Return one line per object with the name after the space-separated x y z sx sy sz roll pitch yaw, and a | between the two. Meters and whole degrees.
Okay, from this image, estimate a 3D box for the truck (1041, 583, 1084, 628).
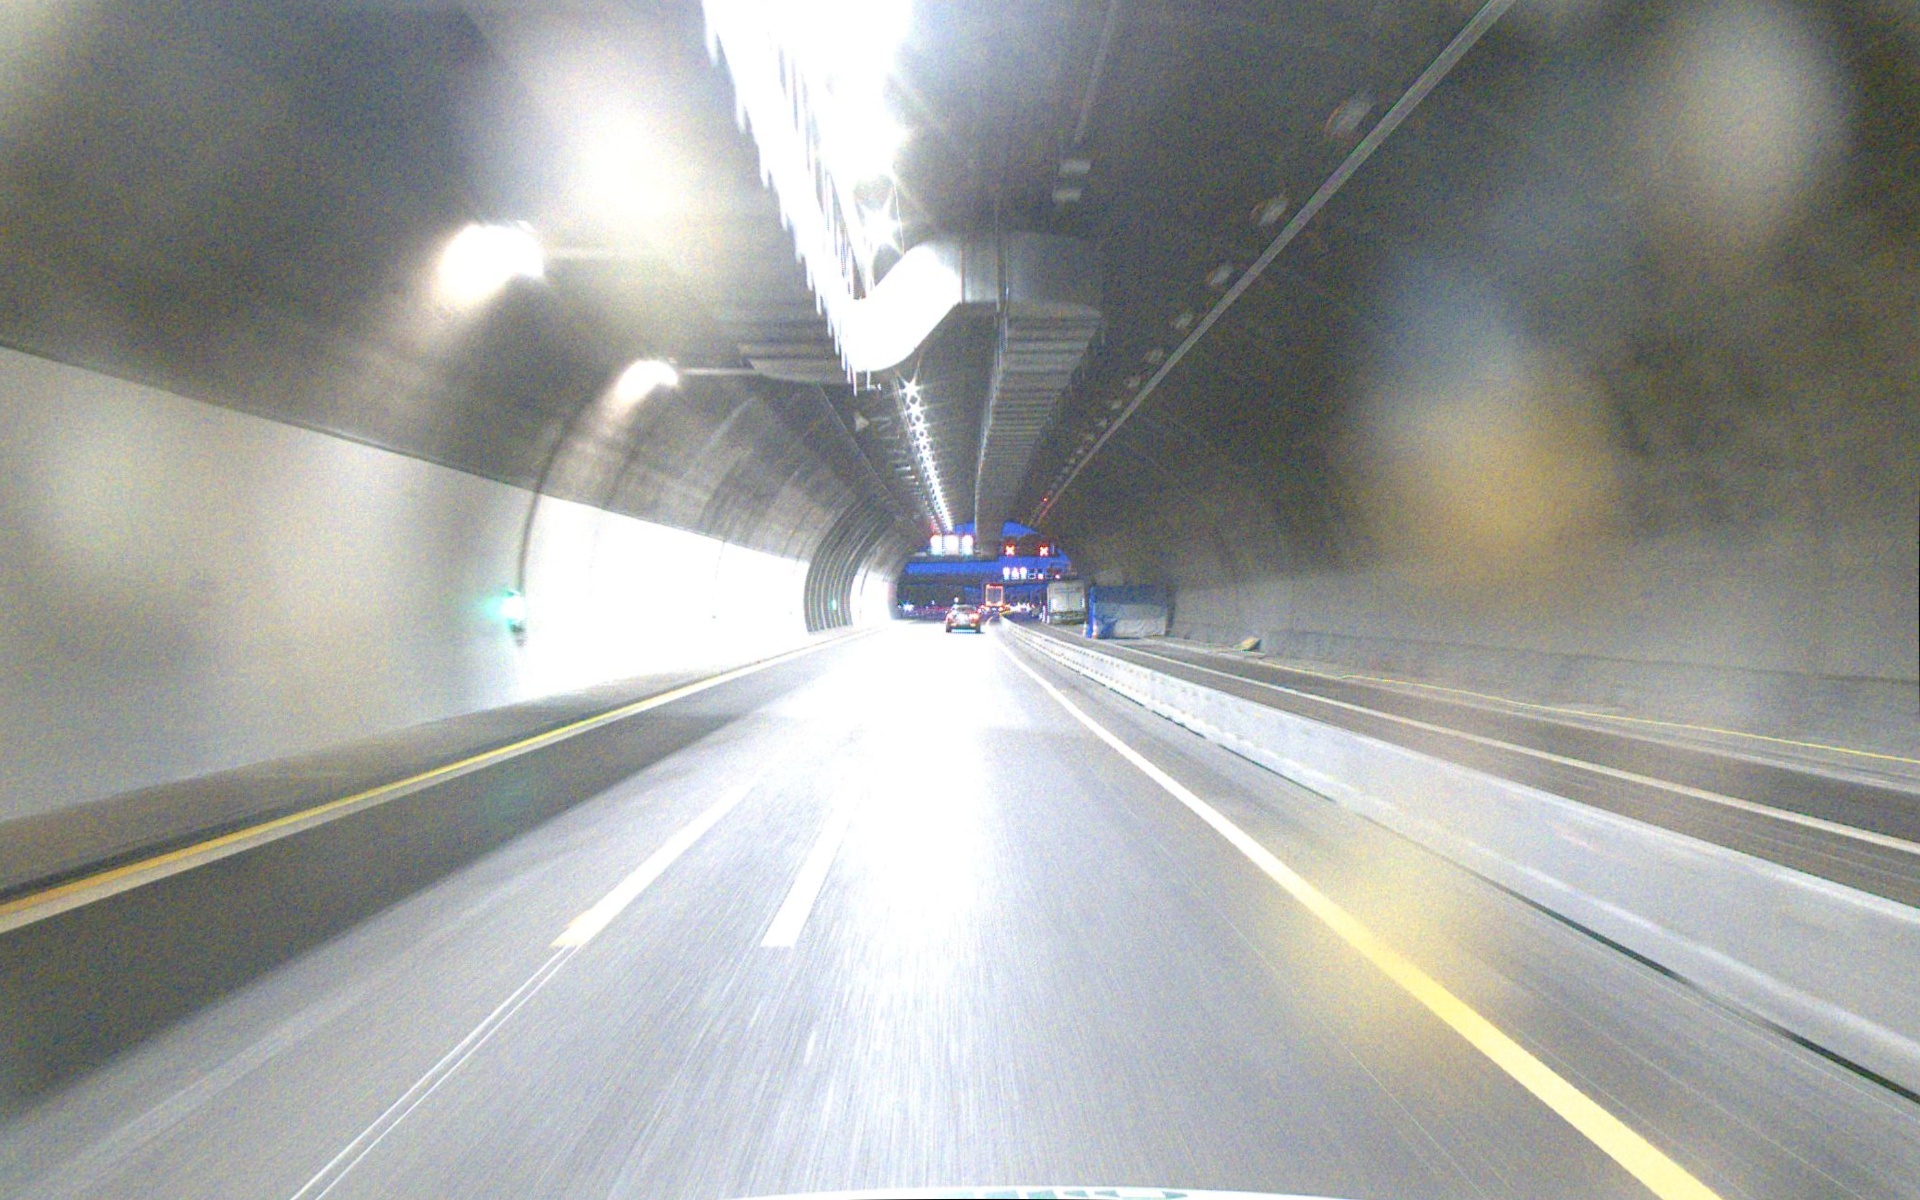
7.919 0.483 128.541 2.833 3.329 8.401 1 -1 1 | truck

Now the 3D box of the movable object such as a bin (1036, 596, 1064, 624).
9.414 1.075 174.060 2.680 2.802 7.050 1 -1 2 | movable object such as a bin

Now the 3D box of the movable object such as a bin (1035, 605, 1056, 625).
8.334 1.493 161.526 1.938 1.847 3.836 1 -1 1 | movable object such as a bin

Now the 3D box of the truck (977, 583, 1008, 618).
4.928 0.142 249.726 4.452 5.074 9.600 1 -1 2 | truck

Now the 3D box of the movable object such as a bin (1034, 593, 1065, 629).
7.391 0.911 137.277 2.192 2.843 7.233 1 -1 1 | movable object such as a bin

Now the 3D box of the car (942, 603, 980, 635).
0.022 1.011 87.546 1.850 1.635 3.998 1 -1 -2 | car
